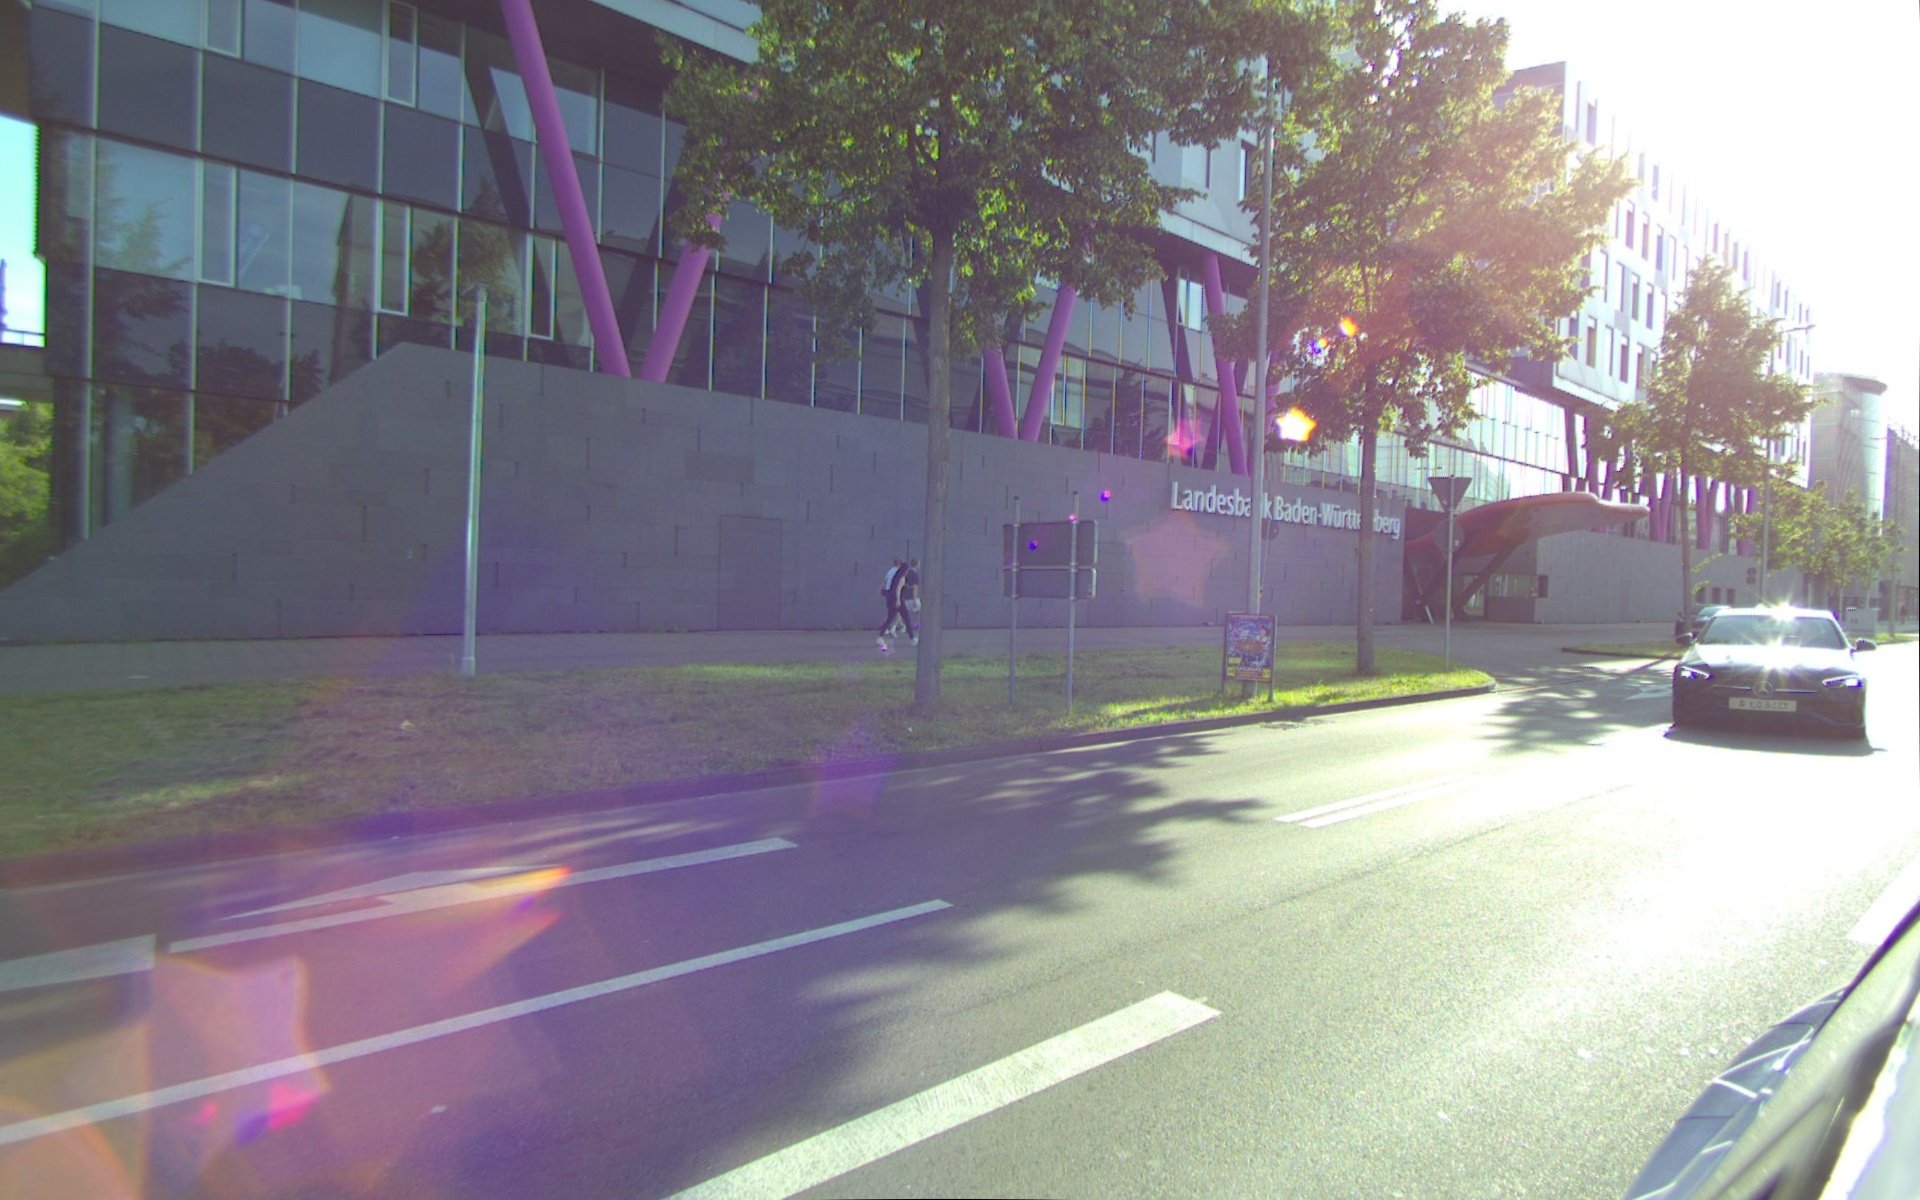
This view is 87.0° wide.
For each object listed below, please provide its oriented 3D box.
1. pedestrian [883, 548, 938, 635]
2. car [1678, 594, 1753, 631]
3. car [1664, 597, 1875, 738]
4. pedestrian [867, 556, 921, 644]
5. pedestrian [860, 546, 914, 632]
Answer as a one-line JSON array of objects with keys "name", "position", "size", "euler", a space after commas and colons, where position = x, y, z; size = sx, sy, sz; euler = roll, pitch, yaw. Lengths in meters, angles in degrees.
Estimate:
[{"name": "pedestrian", "position": [-1.072, -0.192, 21.891], "size": [0.829, 1.815, 0.756], "euler": [1, 3, -41]}, {"name": "car", "position": [31.704, 0.522, 42.444], "size": [4.125, 1.407, 1.695], "euler": [1, 1, -42]}, {"name": "car", "position": [10.499, 0.736, 13.002], "size": [1.838, 1.468, 4.486], "euler": [1, 0, 42]}, {"name": "pedestrian", "position": [-1.286, -0.019, 19.654], "size": [0.724, 1.659, 0.695], "euler": [1, 2, -41]}, {"name": "pedestrian", "position": [-1.641, -0.255, 22.617], "size": [0.838, 1.847, 0.769], "euler": [1, 3, -41]}]
